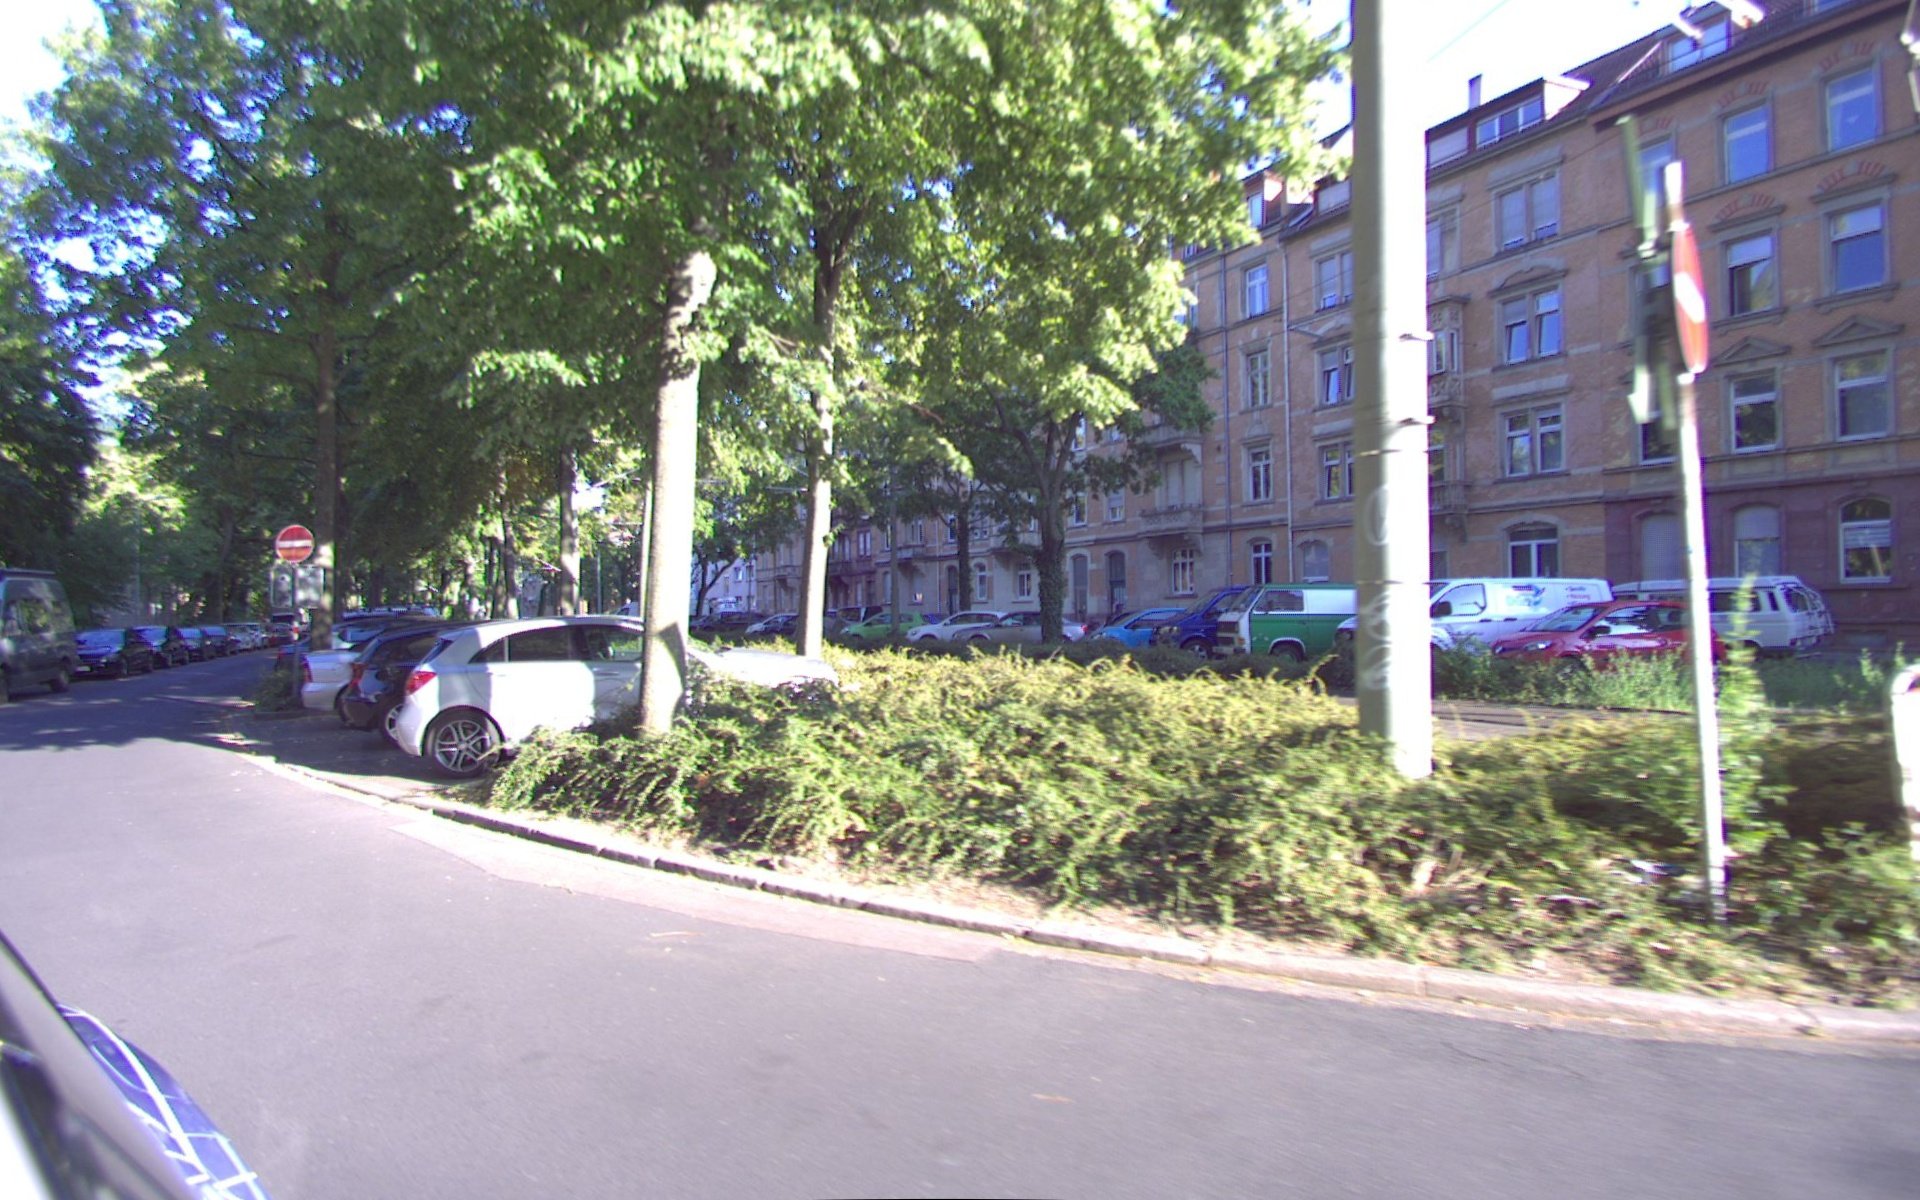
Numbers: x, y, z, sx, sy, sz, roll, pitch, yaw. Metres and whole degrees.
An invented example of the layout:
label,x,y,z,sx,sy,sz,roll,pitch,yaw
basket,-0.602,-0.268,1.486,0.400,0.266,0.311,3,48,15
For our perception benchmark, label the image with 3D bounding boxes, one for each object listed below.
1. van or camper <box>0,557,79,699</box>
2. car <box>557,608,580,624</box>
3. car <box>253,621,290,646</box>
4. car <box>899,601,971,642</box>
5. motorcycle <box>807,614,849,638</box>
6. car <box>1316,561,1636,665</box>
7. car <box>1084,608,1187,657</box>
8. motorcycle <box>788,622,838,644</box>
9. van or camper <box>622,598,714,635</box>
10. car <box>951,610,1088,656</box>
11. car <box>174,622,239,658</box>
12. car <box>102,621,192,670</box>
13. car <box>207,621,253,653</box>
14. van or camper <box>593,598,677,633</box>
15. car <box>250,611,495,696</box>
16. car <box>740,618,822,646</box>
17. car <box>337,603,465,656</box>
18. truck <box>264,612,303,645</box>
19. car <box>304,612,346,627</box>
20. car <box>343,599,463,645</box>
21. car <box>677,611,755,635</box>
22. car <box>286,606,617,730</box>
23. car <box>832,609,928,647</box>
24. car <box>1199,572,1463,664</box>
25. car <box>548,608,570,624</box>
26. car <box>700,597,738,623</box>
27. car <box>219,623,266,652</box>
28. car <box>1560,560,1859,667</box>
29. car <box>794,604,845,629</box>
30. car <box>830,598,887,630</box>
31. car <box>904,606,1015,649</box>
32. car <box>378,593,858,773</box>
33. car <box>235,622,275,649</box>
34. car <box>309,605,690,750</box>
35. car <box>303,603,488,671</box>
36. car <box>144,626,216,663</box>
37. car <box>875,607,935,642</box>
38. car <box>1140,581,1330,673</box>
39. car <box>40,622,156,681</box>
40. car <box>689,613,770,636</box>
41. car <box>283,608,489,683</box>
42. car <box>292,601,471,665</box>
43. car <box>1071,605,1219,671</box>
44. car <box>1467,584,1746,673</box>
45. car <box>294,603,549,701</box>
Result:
label,x,y,z,sx,sy,sz,roll,pitch,yaw
van or camper,-20.782,0.597,21.350,2.055,2.783,5.863,-1,-1,-28
car,-51.480,2.159,133.024,1.967,2.029,4.010,0,-1,-34
car,-43.075,2.093,63.367,1.649,1.465,3.961,-1,-1,-31
car,-1.354,1.113,52.829,1.966,2.029,4.012,0,-1,-31
motorcycle,-5.525,1.081,42.242,1.699,0.962,1.022,-1,-1,-9
car,9.561,0.229,18.967,4.979,1.778,2.088,-1,-1,-7
car,6.831,1.238,39.709,1.769,1.789,4.011,0,-1,-32
motorcycle,-6.317,1.417,43.570,1.953,0.895,1.018,-1,-1,7
van or camper,-19.335,1.084,67.135,5.471,2.389,2.308,0,-1,-2
car,1.866,1.039,32.273,4.231,1.391,1.593,-1,-1,2
car,-33.123,1.728,44.587,1.657,1.435,4.673,-1,-1,-29
car,-28.020,1.514,35.007,1.657,1.537,4.301,-1,-1,-28
car,-35.873,1.802,49.814,1.658,1.465,4.087,-1,-1,-34
van or camper,-23.918,1.158,74.620,5.590,2.487,2.002,0,-1,-5
car,-12.570,1.118,21.854,4.138,1.449,1.834,-4,1,-4
car,-8.889,1.573,50.329,3.936,1.327,1.597,-1,-1,-9
car,-22.223,1.158,40.308,4.112,1.794,1.879,-3,1,8
truck,-52.947,2.196,79.267,2.264,2.404,6.954,-1,-1,-32
car,-84.203,2.615,134.321,4.369,1.634,1.639,-4,2,-13
car,-30.940,1.187,56.317,5.438,2.153,2.081,-4,1,1
car,-14.064,1.305,58.465,4.129,1.320,1.636,-1,-1,-1
car,-7.162,0.905,14.673,3.919,1.375,1.779,-4,1,-13
car,-3.127,1.098,39.708,3.683,1.391,1.709,-1,-1,-3
car,7.739,0.367,21.468,4.766,1.778,2.086,-1,-1,-1
car,-54.898,2.193,138.392,1.967,2.029,4.010,0,-1,-34
car,-20.080,0.844,84.217,1.966,2.029,4.012,0,-1,-31
car,-38.277,1.965,54.080,1.657,1.465,4.088,-1,-1,-30
car,16.691,0.333,22.875,1.826,2.079,5.014,-3,0,-31
car,-9.288,1.103,66.584,1.825,1.542,4.036,2,-2,-31
car,-6.163,0.858,61.126,1.825,1.796,4.036,2,-2,-31
car,-0.051,0.930,34.882,3.682,1.391,1.729,-1,-1,-4
car,-3.283,0.732,10.319,4.223,1.440,1.779,-2,1,-12
car,-40.830,2.056,58.667,1.568,1.465,3.565,-1,-1,-30
car,-5.407,0.859,12.447,3.972,1.416,1.779,-2,1,-14
car,-16.565,1.056,29.852,4.296,1.638,1.942,-4,1,-1
car,-30.348,1.682,39.490,1.657,1.293,4.300,-1,-1,-30
car,-3.129,1.365,56.711,1.825,1.796,3.518,-4,0,-31
car,6.425,0.629,24.050,3.946,2.029,1.999,-1,-1,2
car,-25.025,1.435,29.547,1.657,1.537,4.503,-1,-1,-28
car,-12.720,1.335,55.963,4.143,1.176,1.500,-1,-1,-1
car,-13.654,1.057,24.262,3.814,1.449,1.834,-4,1,-4
car,-19.818,1.109,34.806,4.931,1.794,1.988,-4,1,-1
car,4.887,0.997,27.040,3.600,1.652,1.660,-1,-1,0
car,10.645,0.452,16.813,3.577,1.339,1.719,-1,-1,-6
car,-10.185,0.955,19.379,3.828,1.505,1.833,-4,1,-2
